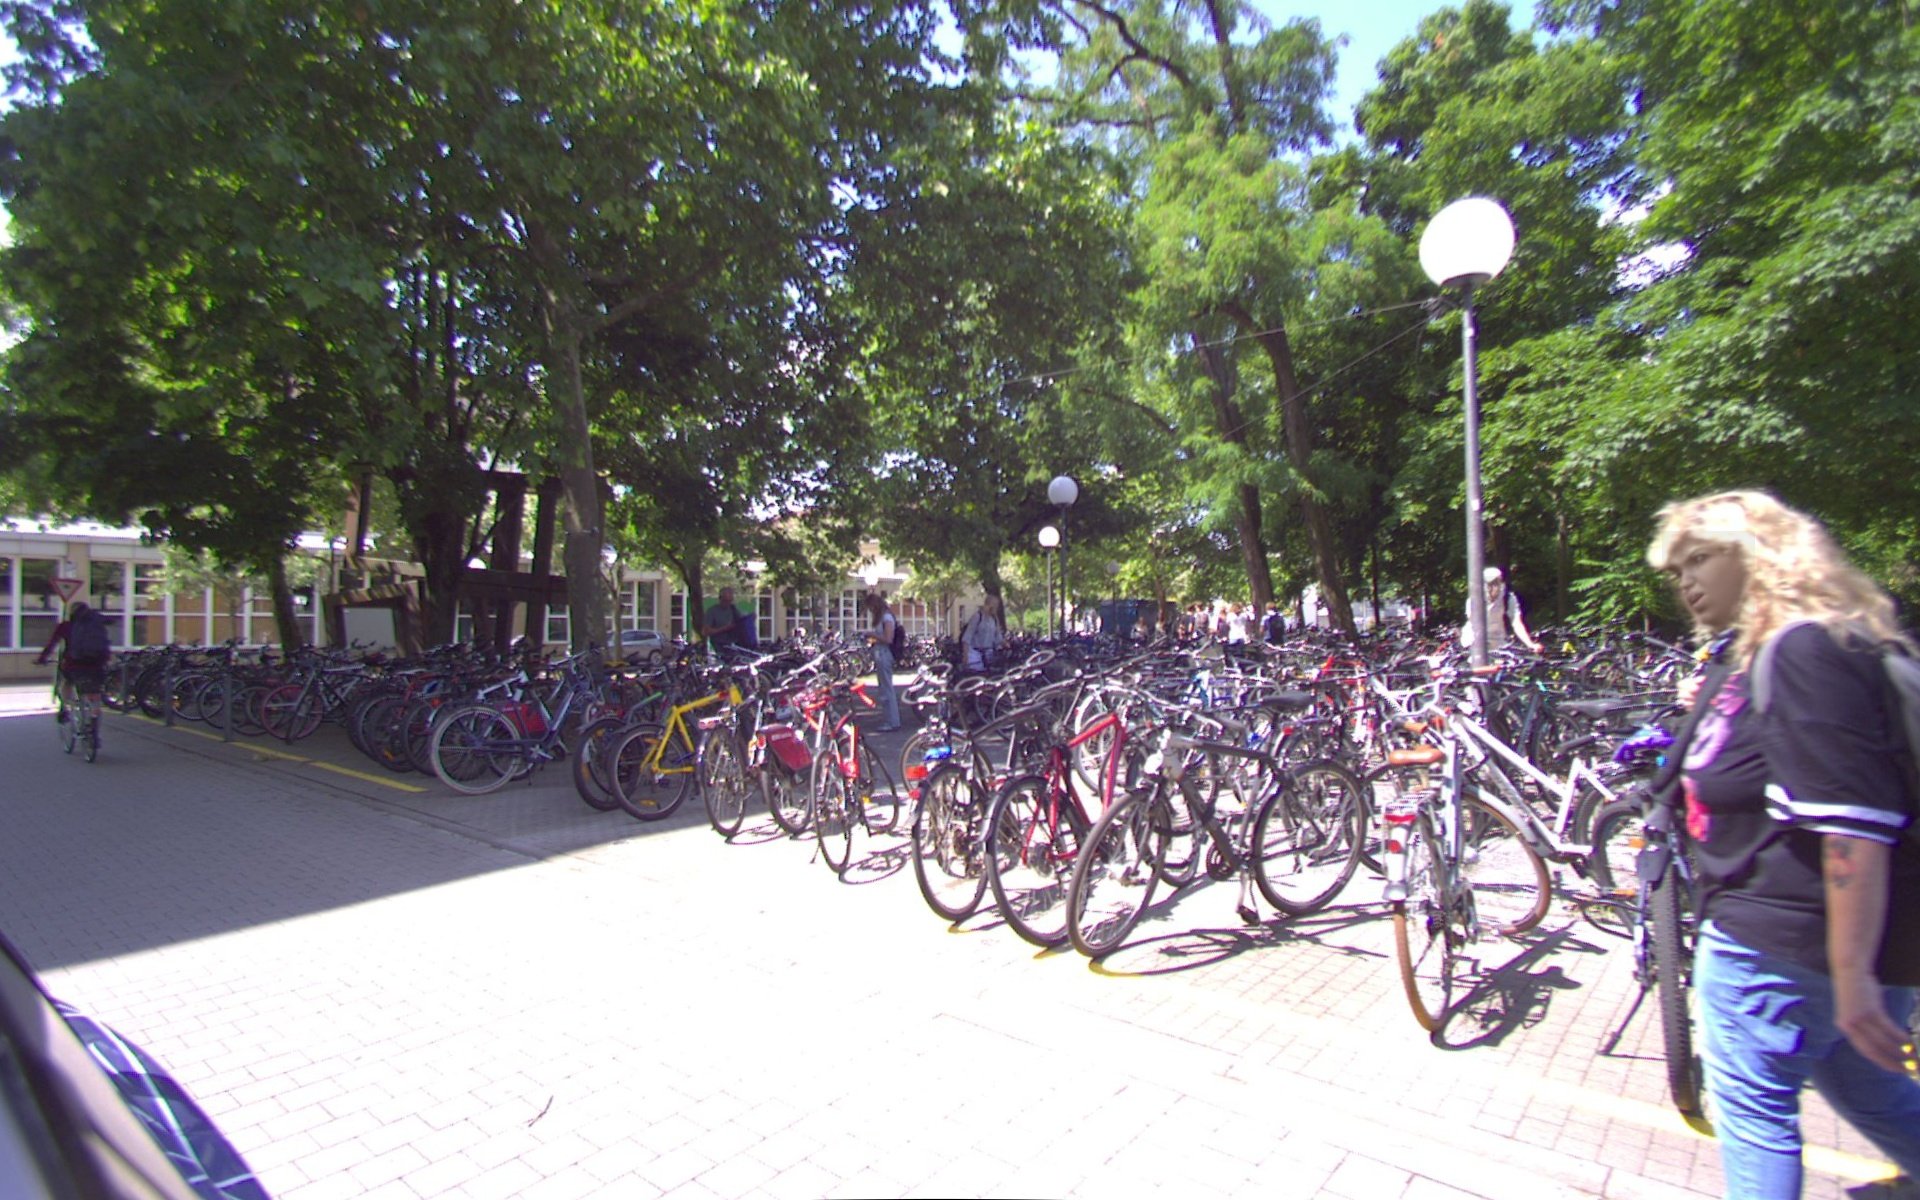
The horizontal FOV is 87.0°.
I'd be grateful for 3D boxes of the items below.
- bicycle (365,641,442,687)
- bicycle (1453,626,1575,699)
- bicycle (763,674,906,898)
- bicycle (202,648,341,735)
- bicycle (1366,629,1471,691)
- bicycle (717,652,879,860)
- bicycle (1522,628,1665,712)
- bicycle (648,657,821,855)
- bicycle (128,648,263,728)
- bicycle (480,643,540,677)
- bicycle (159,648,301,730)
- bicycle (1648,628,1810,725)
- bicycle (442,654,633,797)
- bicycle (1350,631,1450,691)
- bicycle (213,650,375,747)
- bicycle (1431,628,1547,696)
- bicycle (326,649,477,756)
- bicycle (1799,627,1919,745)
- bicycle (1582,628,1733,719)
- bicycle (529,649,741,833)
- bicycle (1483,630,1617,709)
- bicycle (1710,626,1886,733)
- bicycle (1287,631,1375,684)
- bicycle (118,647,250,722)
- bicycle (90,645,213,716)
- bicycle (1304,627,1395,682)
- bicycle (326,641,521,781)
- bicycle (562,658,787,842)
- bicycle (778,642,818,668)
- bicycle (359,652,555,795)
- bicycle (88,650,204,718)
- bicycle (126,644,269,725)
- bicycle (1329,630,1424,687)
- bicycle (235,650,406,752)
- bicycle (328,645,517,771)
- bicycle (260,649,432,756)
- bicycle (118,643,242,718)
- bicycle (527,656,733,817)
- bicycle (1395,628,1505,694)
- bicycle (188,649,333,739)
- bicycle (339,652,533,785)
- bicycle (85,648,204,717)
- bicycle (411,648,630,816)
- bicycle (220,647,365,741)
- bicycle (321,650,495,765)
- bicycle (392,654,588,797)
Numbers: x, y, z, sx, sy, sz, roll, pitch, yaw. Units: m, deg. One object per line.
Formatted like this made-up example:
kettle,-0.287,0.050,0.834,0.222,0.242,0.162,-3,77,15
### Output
bicycle,-14.633,1.658,26.659,0.392,1.116,1.818,-2,-1,34
bicycle,9.011,1.004,16.476,1.750,1.118,0.518,-1,-1,-7
bicycle,-0.682,1.001,5.966,0.468,1.026,1.696,-1,-1,6
bicycle,-9.766,1.277,14.395,1.603,1.116,0.564,0,-1,-36
bicycle,8.636,1.117,19.075,1.750,1.118,0.518,-1,-1,-7
bicycle,-1.039,0.965,6.863,0.469,1.166,1.692,-1,-1,13
bicycle,8.964,0.976,14.329,1.750,1.118,0.518,-1,-1,-7
bicycle,-1.487,0.990,6.972,0.469,1.116,1.692,-1,-1,13
bicycle,-11.852,1.336,15.743,0.496,1.116,1.610,-2,-1,35
bicycle,-15.669,2.088,35.245,0.605,1.116,1.805,0,-2,42
bicycle,-10.997,1.310,15.268,1.699,1.116,0.720,0,-1,-39
bicycle,9.464,0.922,12.469,1.749,1.118,0.518,-1,-1,-10
bicycle,-3.803,1.086,9.247,0.472,1.116,1.682,-2,-1,29
bicycle,8.607,1.178,19.833,1.750,1.118,0.518,-1,-1,-7
bicycle,-8.543,1.239,13.056,1.711,1.116,0.576,0,-1,-30
bicycle,9.058,1.049,17.337,1.750,1.118,0.518,-1,-1,-7
bicycle,-6.590,1.177,12.046,0.493,1.116,1.731,-1,-1,16
bicycle,9.501,0.846,10.274,1.749,1.118,0.475,-1,-1,-10
bicycle,9.147,0.949,13.291,1.749,1.118,0.518,-1,-1,-10
bicycle,-2.441,1.007,7.793,0.472,1.196,1.682,-2,-1,29
bicycle,8.869,1.027,15.225,1.750,1.118,0.518,-1,-1,-7
bicycle,9.367,0.871,11.321,1.749,1.118,0.475,-1,-1,-10
bicycle,8.181,1.265,22.333,1.750,1.118,0.518,-1,-1,-7
bicycle,-12.654,1.349,16.543,0.644,1.116,1.610,-2,-1,35
bicycle,-13.922,1.358,17.448,1.606,1.116,0.691,0,-2,-45
bicycle,8.298,1.157,21.572,1.750,1.118,0.518,-1,-1,-7
bicycle,-5.371,1.059,10.236,0.495,1.245,1.721,-2,-1,33
bicycle,-2.037,1.022,7.452,0.580,1.116,1.682,-2,-1,29
bicycle,-7.151,2.437,44.818,0.639,1.116,1.797,-1,-2,37
bicycle,-4.667,1.097,9.512,0.472,1.154,1.683,-2,-1,29
bicycle,-14.776,1.506,18.395,1.606,1.116,0.506,0,-2,-45
bicycle,-12.145,1.315,16.164,0.496,1.170,1.764,-2,-1,35
bicycle,8.494,1.187,20.658,1.750,1.118,0.518,-1,-1,-7
bicycle,-7.863,1.210,12.510,0.497,1.116,1.717,-2,-1,40
bicycle,-5.667,1.095,10.751,0.496,1.187,1.717,-2,-1,40
bicycle,-7.339,1.188,12.170,0.496,1.135,1.719,-2,-1,36
bicycle,-13.169,1.327,17.125,0.497,1.159,1.607,-2,-1,41
bicycle,-2.671,1.059,8.372,0.563,1.116,1.682,-2,-1,29
bicycle,8.807,1.085,18.217,1.750,1.118,0.518,-1,-1,-7
bicycle,-9.538,1.256,13.836,1.603,1.116,0.498,0,-1,-36
bicycle,-5.052,1.103,9.869,0.495,1.116,1.682,-2,-1,30
bicycle,-14.438,1.442,17.950,1.606,1.116,0.497,0,-2,-45
bicycle,-3.638,1.039,8.518,0.535,1.208,1.681,-2,-1,32
bicycle,-8.946,1.228,13.591,1.603,1.152,0.498,0,-1,-36
bicycle,-6.109,1.149,11.296,0.495,1.116,1.724,-1,-1,28
bicycle,-4.257,1.091,9.288,0.472,1.116,1.683,-2,-1,29
